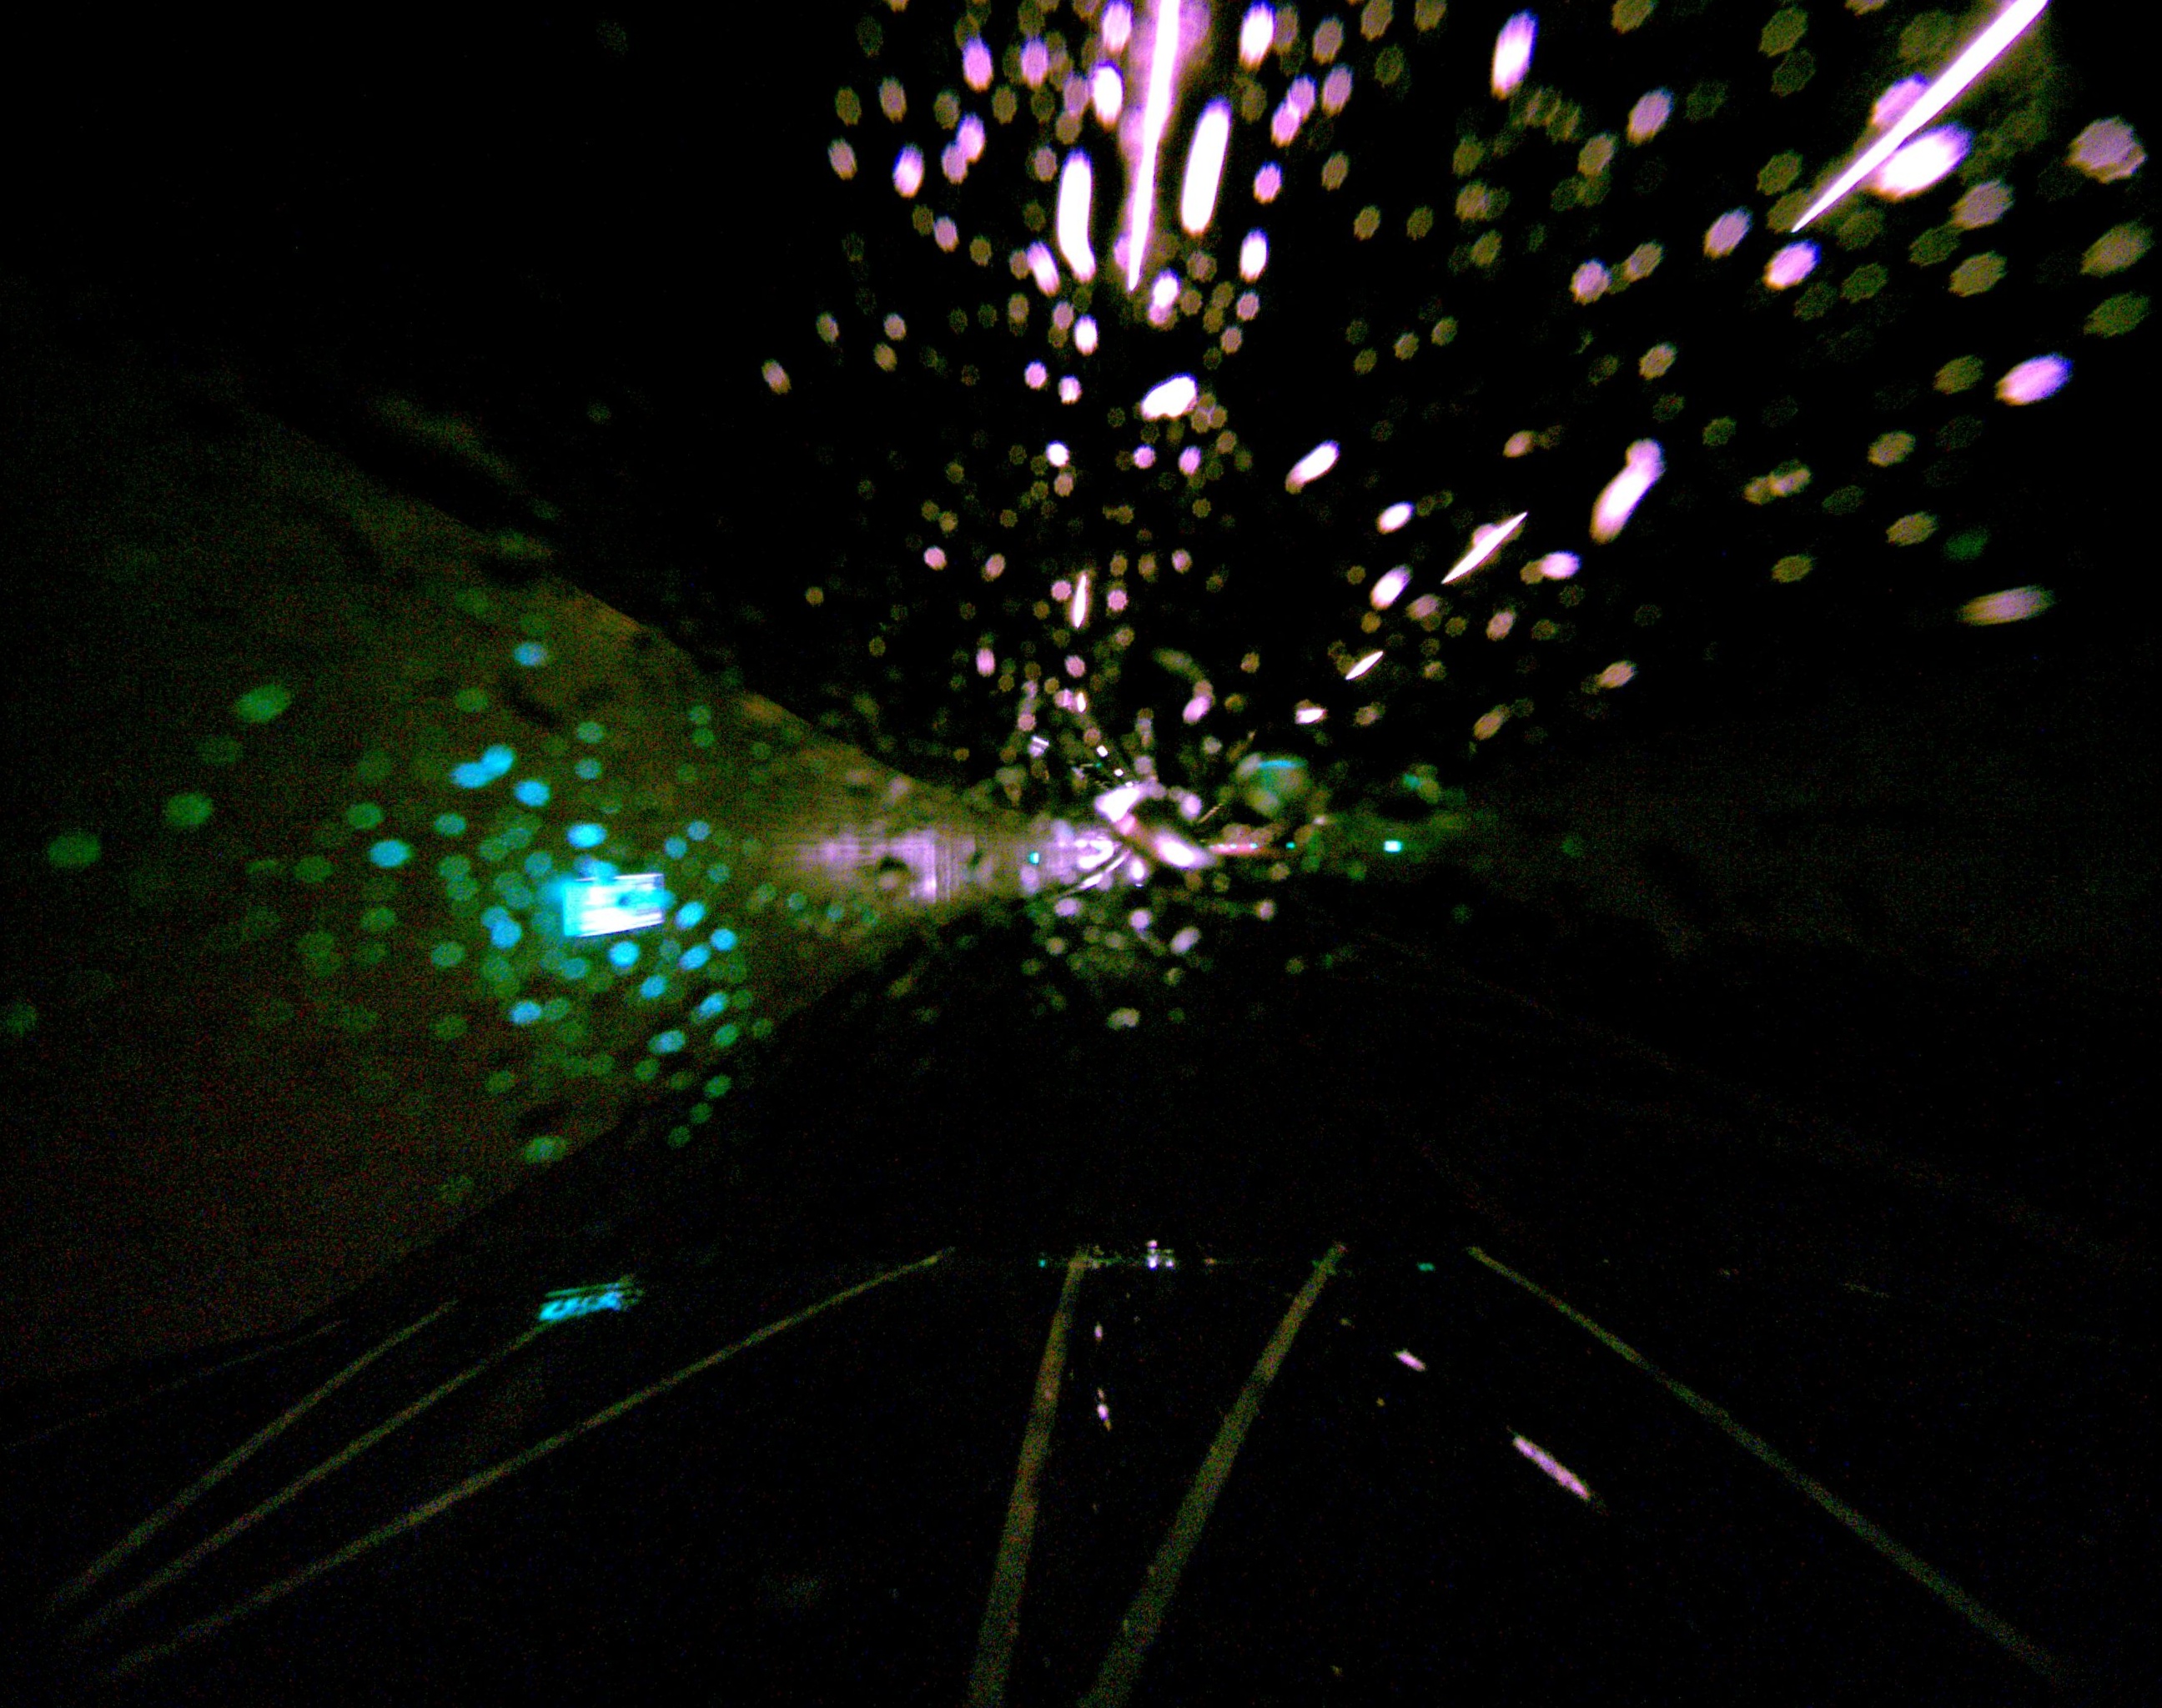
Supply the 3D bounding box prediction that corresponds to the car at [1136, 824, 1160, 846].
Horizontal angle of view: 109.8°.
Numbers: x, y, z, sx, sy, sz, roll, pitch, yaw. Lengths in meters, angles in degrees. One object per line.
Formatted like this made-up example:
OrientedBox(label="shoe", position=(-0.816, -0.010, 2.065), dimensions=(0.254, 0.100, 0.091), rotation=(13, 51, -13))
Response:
OrientedBox(label="car", position=(6.510, -1.796, 73.116), dimensions=(2.029, 2.017, 4.426), rotation=(-3, 0, 7))
